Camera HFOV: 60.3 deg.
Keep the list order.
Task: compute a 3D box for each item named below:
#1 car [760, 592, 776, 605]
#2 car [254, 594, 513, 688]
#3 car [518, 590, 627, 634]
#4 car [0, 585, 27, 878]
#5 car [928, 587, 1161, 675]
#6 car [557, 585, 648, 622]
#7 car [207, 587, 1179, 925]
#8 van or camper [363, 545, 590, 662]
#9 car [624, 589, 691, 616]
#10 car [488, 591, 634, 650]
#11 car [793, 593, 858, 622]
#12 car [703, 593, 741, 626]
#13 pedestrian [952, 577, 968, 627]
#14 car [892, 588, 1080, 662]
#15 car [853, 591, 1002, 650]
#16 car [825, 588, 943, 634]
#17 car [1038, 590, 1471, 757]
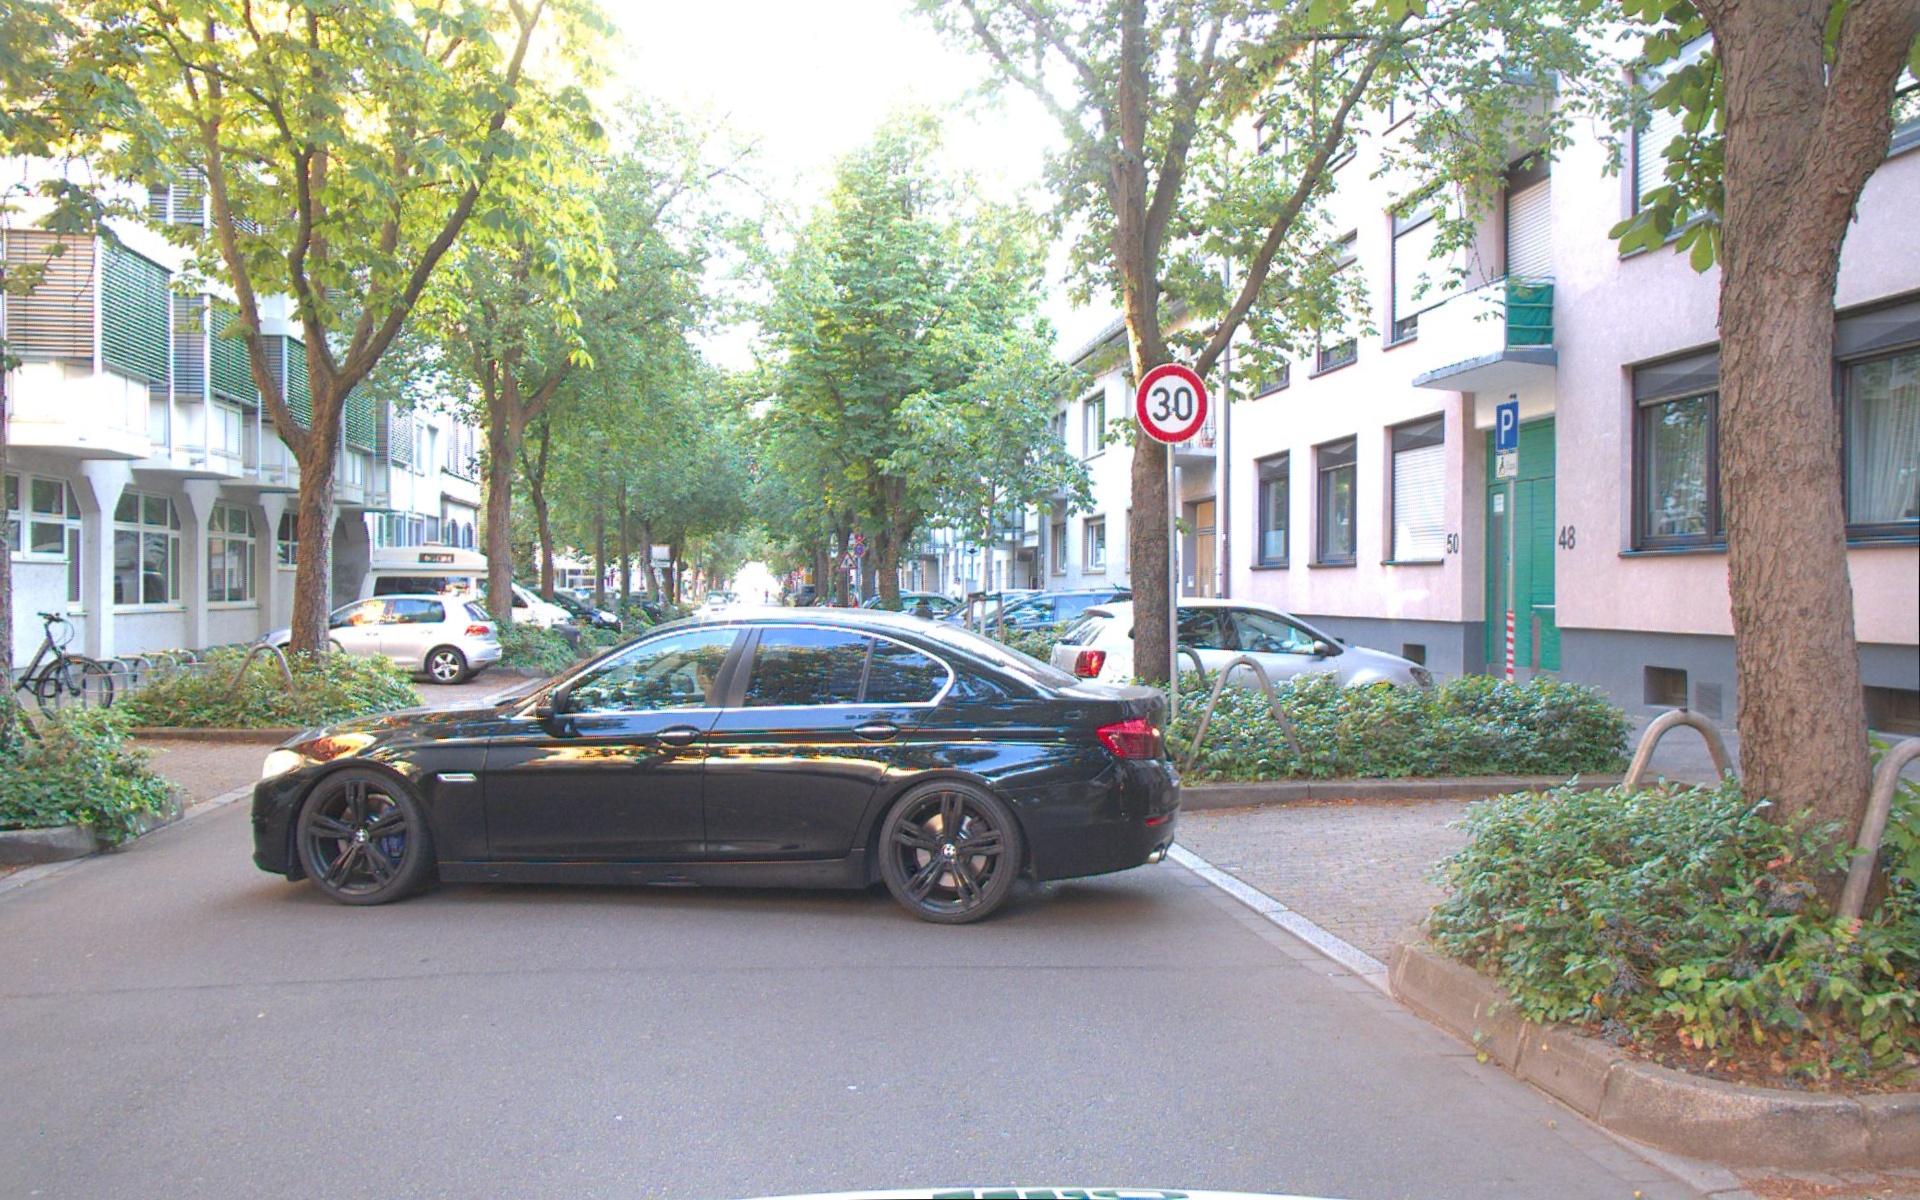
[{"bbox_3d":[-23.001,-0.179,198.022,1.787,1.557,3.995,-1,0,-6],"label":"car"},{"bbox_3d":[-9.870,0.678,28.574,3.892,1.544,1.783,0,0,-6],"label":"car"},{"bbox_3d":[-15.024,0.441,64.267,3.891,1.647,1.783,0,0,-6],"label":"car"},{"bbox_3d":[-7.109,0.705,7.863,4.272,1.544,1.782,0,0,-7],"label":"car"},{"bbox_3d":[1.477,0.531,29.690,3.894,1.502,1.781,0,0,-9],"label":"car"},{"bbox_3d":[-16.371,0.157,75.878,3.891,1.647,1.783,0,0,-6],"label":"car"},{"bbox_3d":[-1.210,0.692,8.571,4.644,1.506,1.801,0,0,8],"label":"car"},{"bbox_3d":[-10.681,0.055,36.876,4.575,2.521,1.997,0,0,-7],"label":"van or camper"},{"bbox_3d":[-18.649,0.155,102.107,3.891,1.647,1.783,0,0,-6],"label":"car"},{"bbox_3d":[-11.501,0.564,47.854,3.892,1.647,1.783,0,0,-6],"label":"car"},{"bbox_3d":[-8.183,0.463,100.639,3.891,1.713,1.783,0,0,-6],"label":"car"},{"bbox_3d":[-11.944,0.457,83.148,1.745,1.589,4.162,0,0,-6],"label":"car"},{"bbox_3d":[-0.002,0.084,68.812,0.577,2.049,0.669,0,0,-6],"label":"pedestrian"},{"bbox_3d":[0.534,0.521,36.146,3.893,1.554,1.782,0,0,-8],"label":"car"},{"bbox_3d":[-0.918,0.530,44.934,3.893,1.554,1.782,0,0,-8],"label":"car"},{"bbox_3d":[-2.640,0.359,56.774,3.894,1.554,1.782,0,0,-9],"label":"car"},{"bbox_3d":[2.801,0.660,16.104,3.836,1.502,1.661,0,0,-9],"label":"car"}]
